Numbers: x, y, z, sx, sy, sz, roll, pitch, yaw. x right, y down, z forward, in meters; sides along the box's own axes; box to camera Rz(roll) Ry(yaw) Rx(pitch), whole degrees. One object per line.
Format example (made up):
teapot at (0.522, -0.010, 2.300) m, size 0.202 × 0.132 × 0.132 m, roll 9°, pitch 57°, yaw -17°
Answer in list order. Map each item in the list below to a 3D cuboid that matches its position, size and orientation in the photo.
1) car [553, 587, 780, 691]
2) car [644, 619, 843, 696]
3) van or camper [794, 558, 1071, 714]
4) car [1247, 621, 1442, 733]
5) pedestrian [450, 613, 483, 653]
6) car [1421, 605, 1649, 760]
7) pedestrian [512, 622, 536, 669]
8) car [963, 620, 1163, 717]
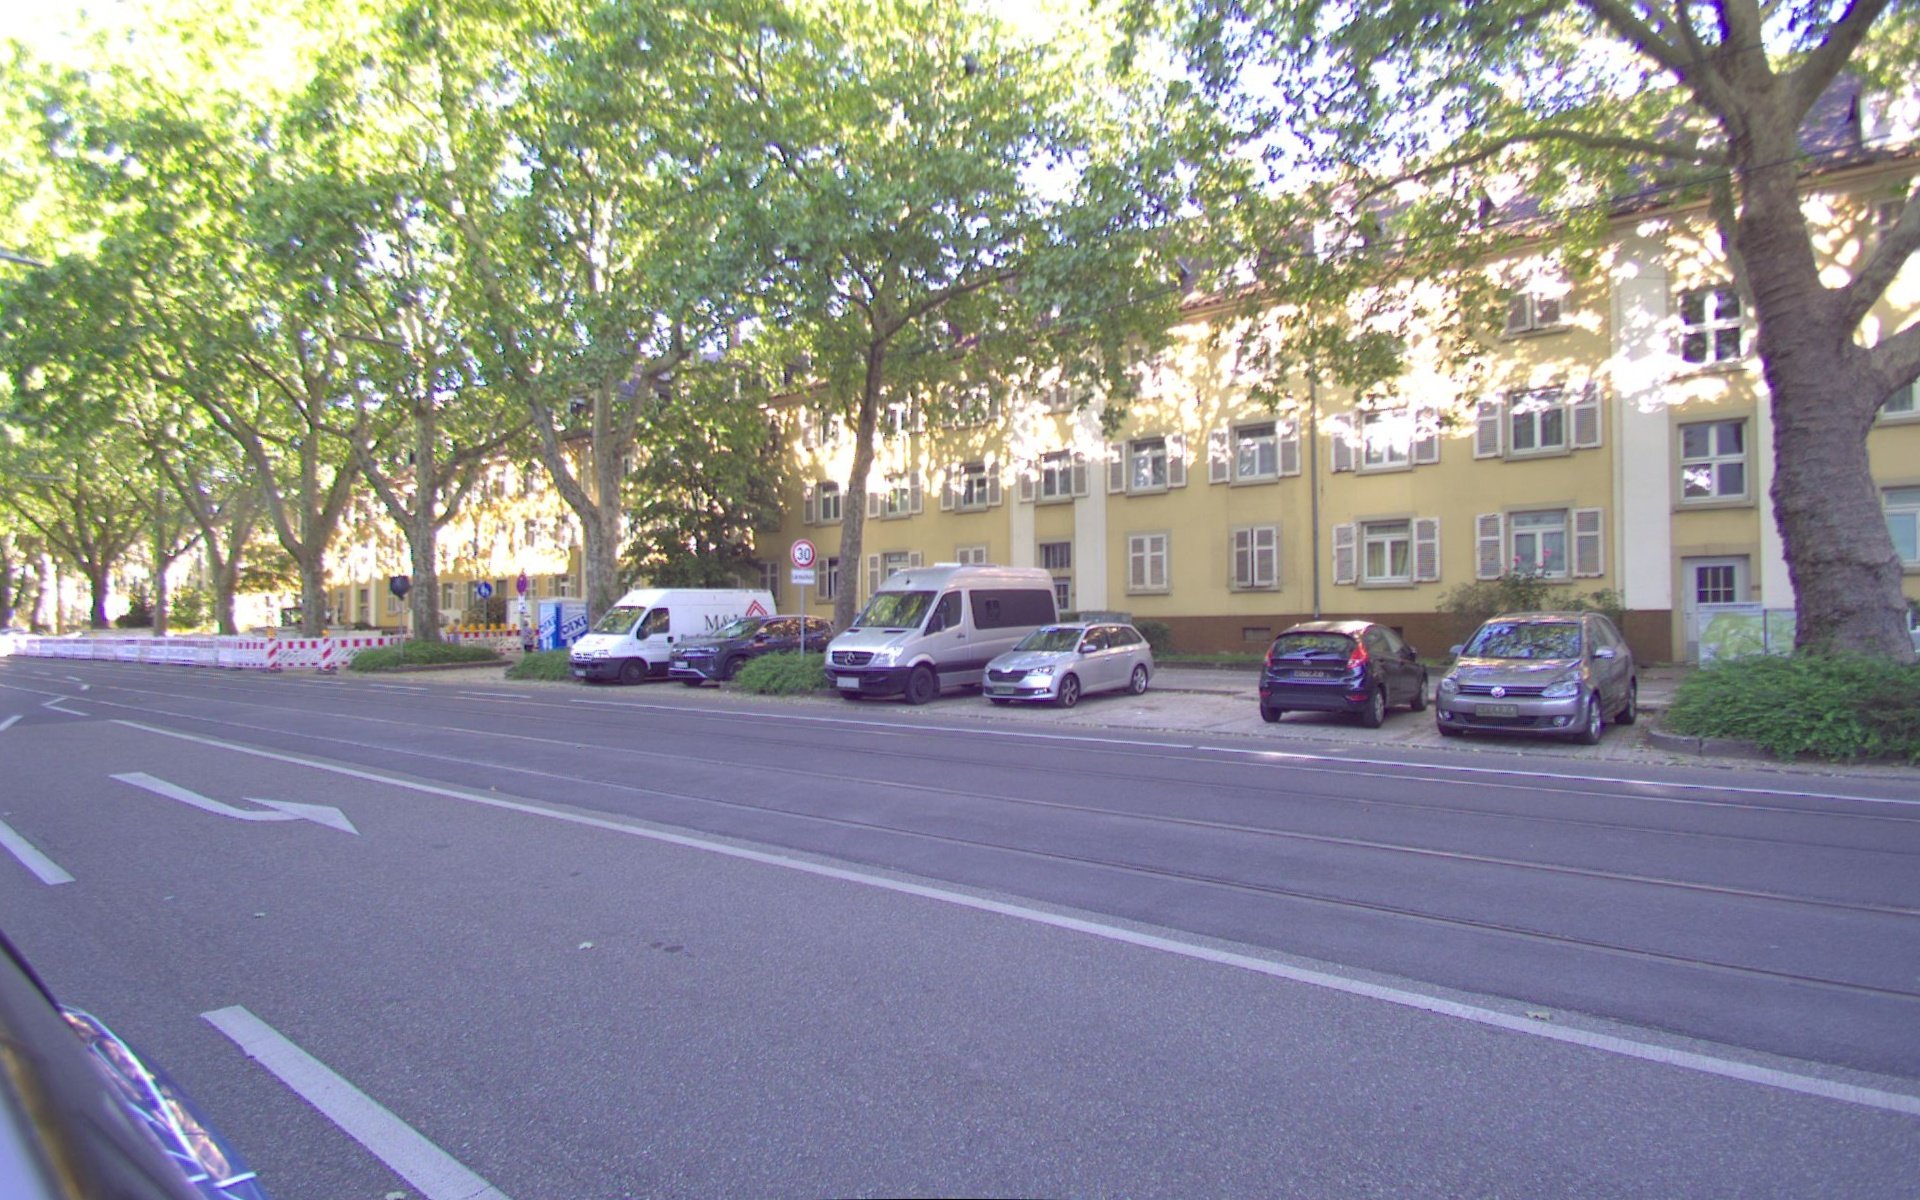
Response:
car at (-7.452, 0.976, 26.285) m, size 2.023 × 2.394 × 5.543 m, roll -2°, pitch -2°, yaw 38°
car at (-5.098, 1.301, 24.366) m, size 1.967 × 1.643 × 4.520 m, roll -2°, pitch -2°, yaw 38°
van or camper at (-0.323, 0.637, 20.489) m, size 2.227 × 2.697 × 6.052 m, roll -2°, pitch -1°, yaw 38°
car at (5.899, 1.069, 15.327) m, size 1.740 × 1.440 × 3.528 m, roll -2°, pitch -1°, yaw 39°
pedestrian at (-25.612, 1.716, 52.505) m, size 1.233 × 2.029 × 1.085 m, roll -2°, pitch -2°, yaw 36°
car at (7.729, 0.947, 13.413) m, size 1.814 × 1.617 × 4.145 m, roll -2°, pitch 0°, yaw 41°
pedestrian at (-14.999, 1.558, 34.837) m, size 0.587 × 1.585 × 0.718 m, roll 0°, pitch -2°, yaw -6°
car at (2.029, 1.181, 18.904) m, size 1.729 × 1.481 × 4.102 m, roll 0°, pitch 1°, yaw 40°
